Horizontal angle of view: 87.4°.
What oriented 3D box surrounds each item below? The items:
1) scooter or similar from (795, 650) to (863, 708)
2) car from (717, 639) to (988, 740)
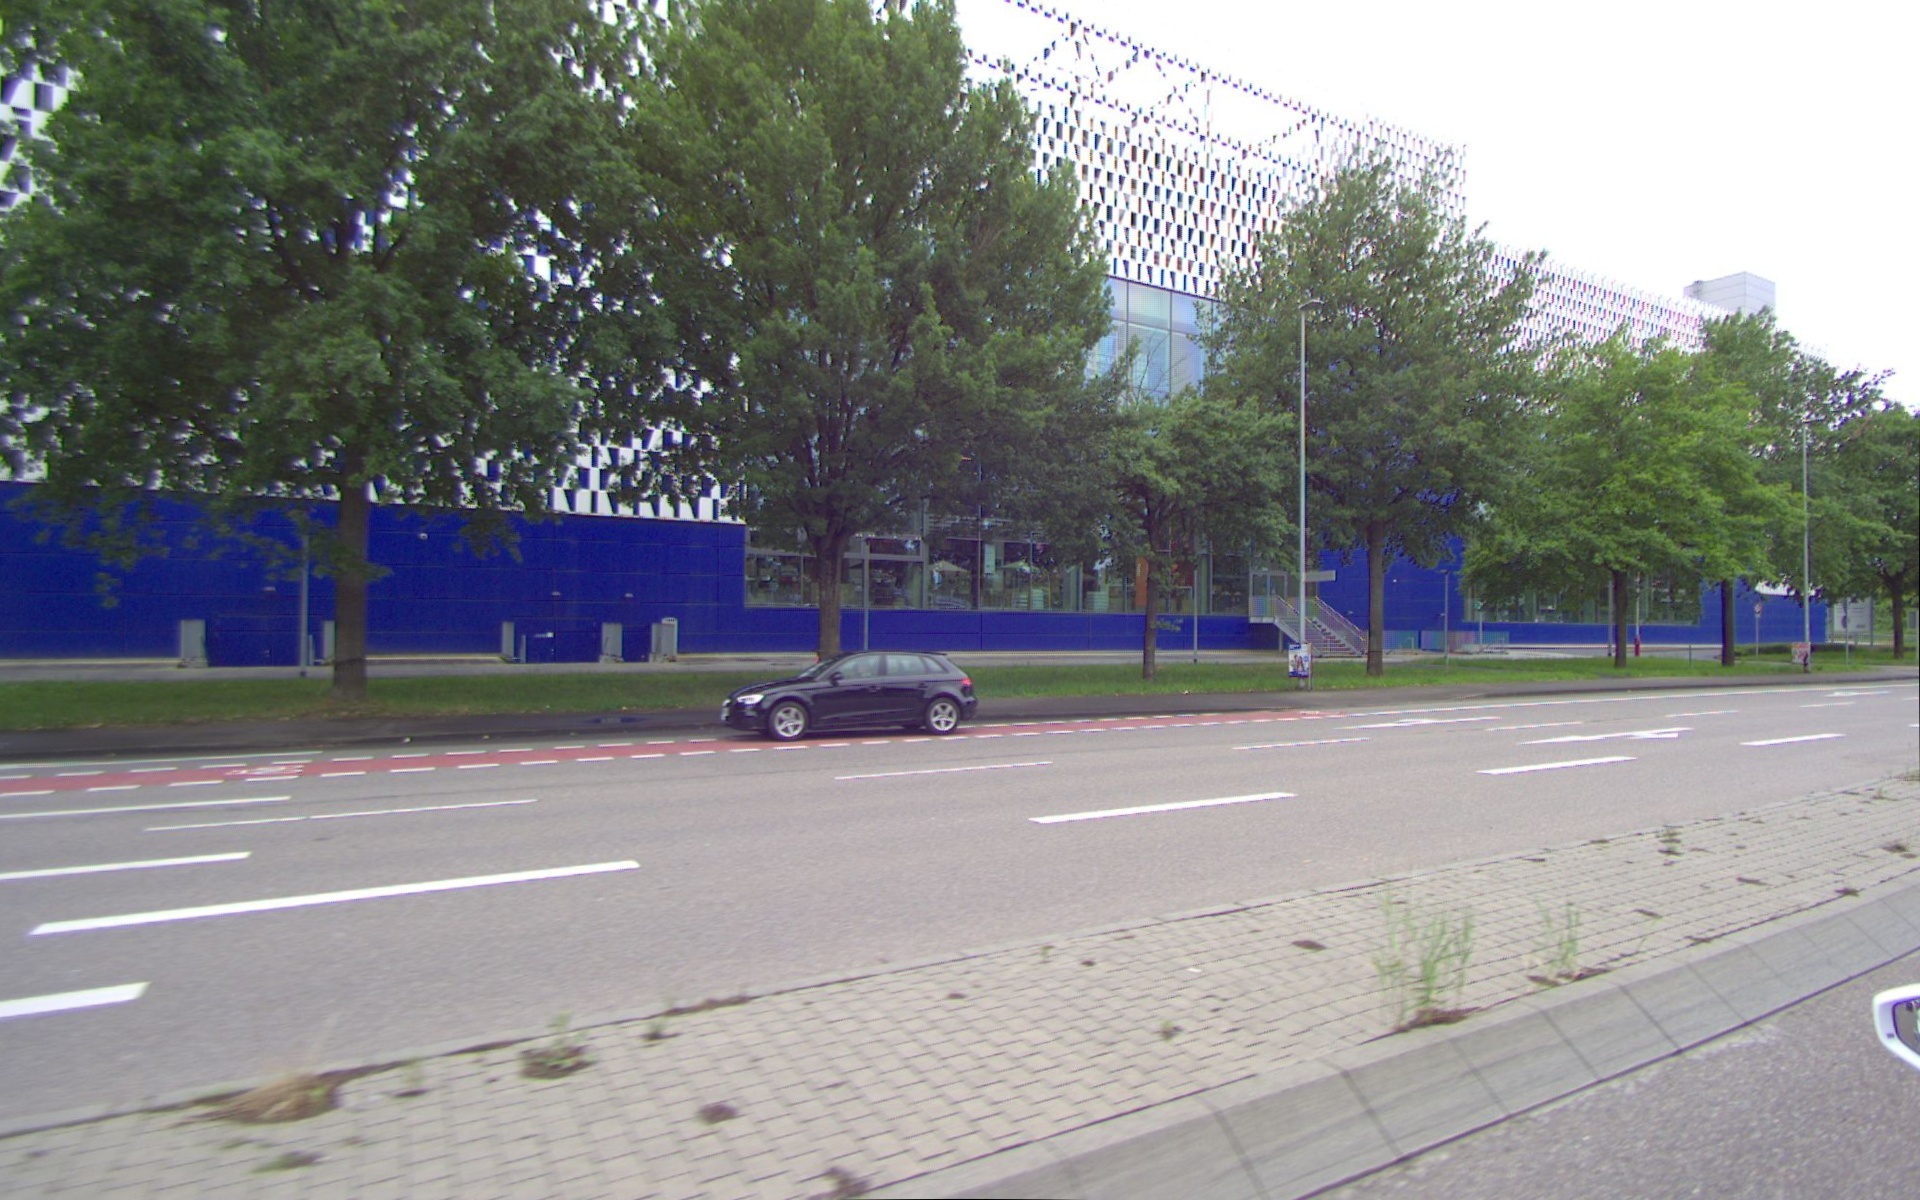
[{"bbox_3d":[-2.936,1.748,22.536,1.362,1.212,0.651,1,0,-32],"label":"scooter or similar"},{"bbox_3d":[-1.817,1.458,16.913,4.191,1.521,1.914,1,-4,-23],"label":"car"}]
